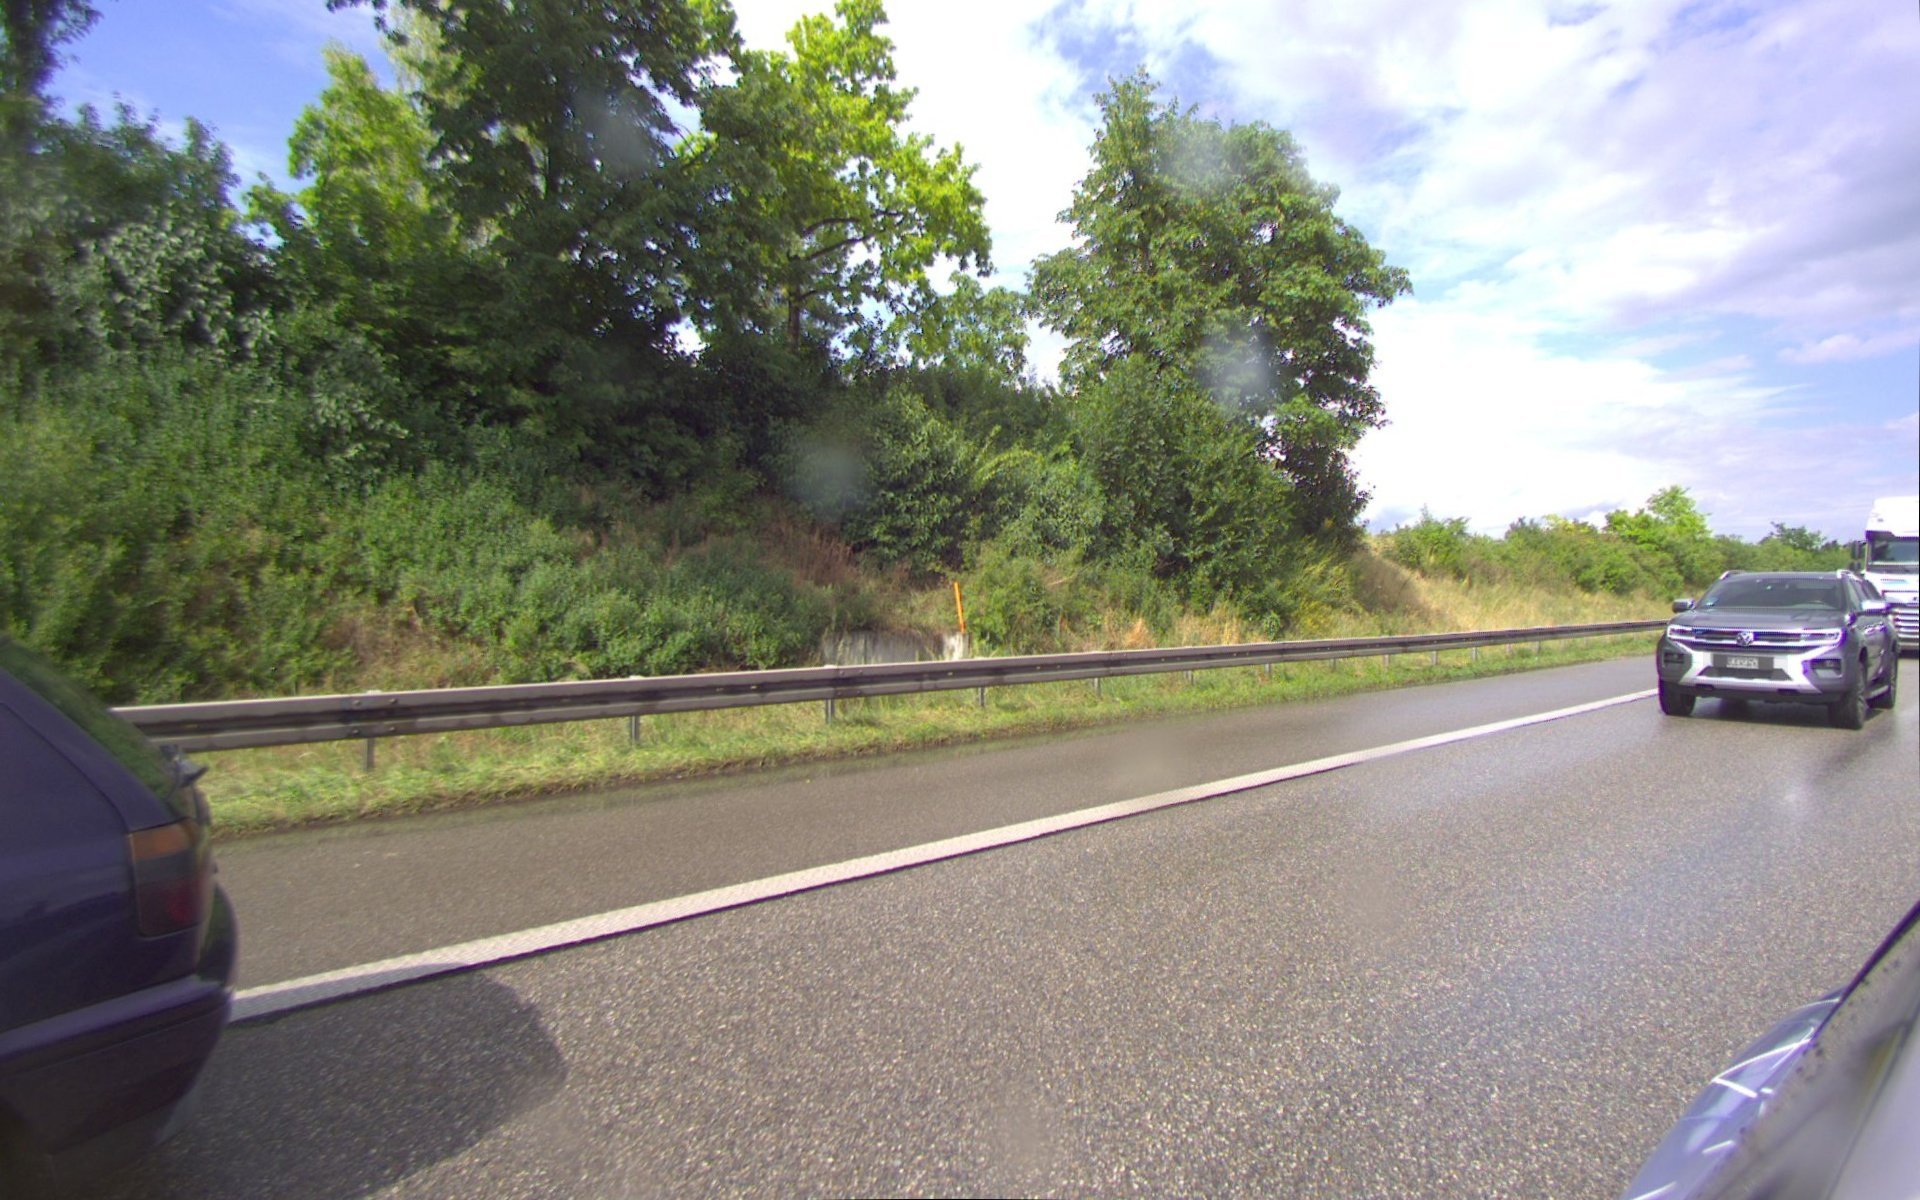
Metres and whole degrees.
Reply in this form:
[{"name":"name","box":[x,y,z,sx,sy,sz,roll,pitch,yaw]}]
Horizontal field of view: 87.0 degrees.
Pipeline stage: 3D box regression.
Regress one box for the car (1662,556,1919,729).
[{"name":"car","box":[10.918,0.415,13.103,5.214,1.826,1.830,0,1,-42]}]

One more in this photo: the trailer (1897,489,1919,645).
[{"name":"trailer","box":[30.681,-0.938,30.516,12.006,4.171,2.448,-1,0,-42]}]

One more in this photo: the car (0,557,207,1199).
[{"name":"car","box":[-3.458,0.654,1.454,3.681,1.474,1.653,0,1,-43]}]

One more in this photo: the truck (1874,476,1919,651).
[{"name":"truck","box":[25.003,-0.867,25.450,5.240,4.155,2.458,0,0,-42]}]
